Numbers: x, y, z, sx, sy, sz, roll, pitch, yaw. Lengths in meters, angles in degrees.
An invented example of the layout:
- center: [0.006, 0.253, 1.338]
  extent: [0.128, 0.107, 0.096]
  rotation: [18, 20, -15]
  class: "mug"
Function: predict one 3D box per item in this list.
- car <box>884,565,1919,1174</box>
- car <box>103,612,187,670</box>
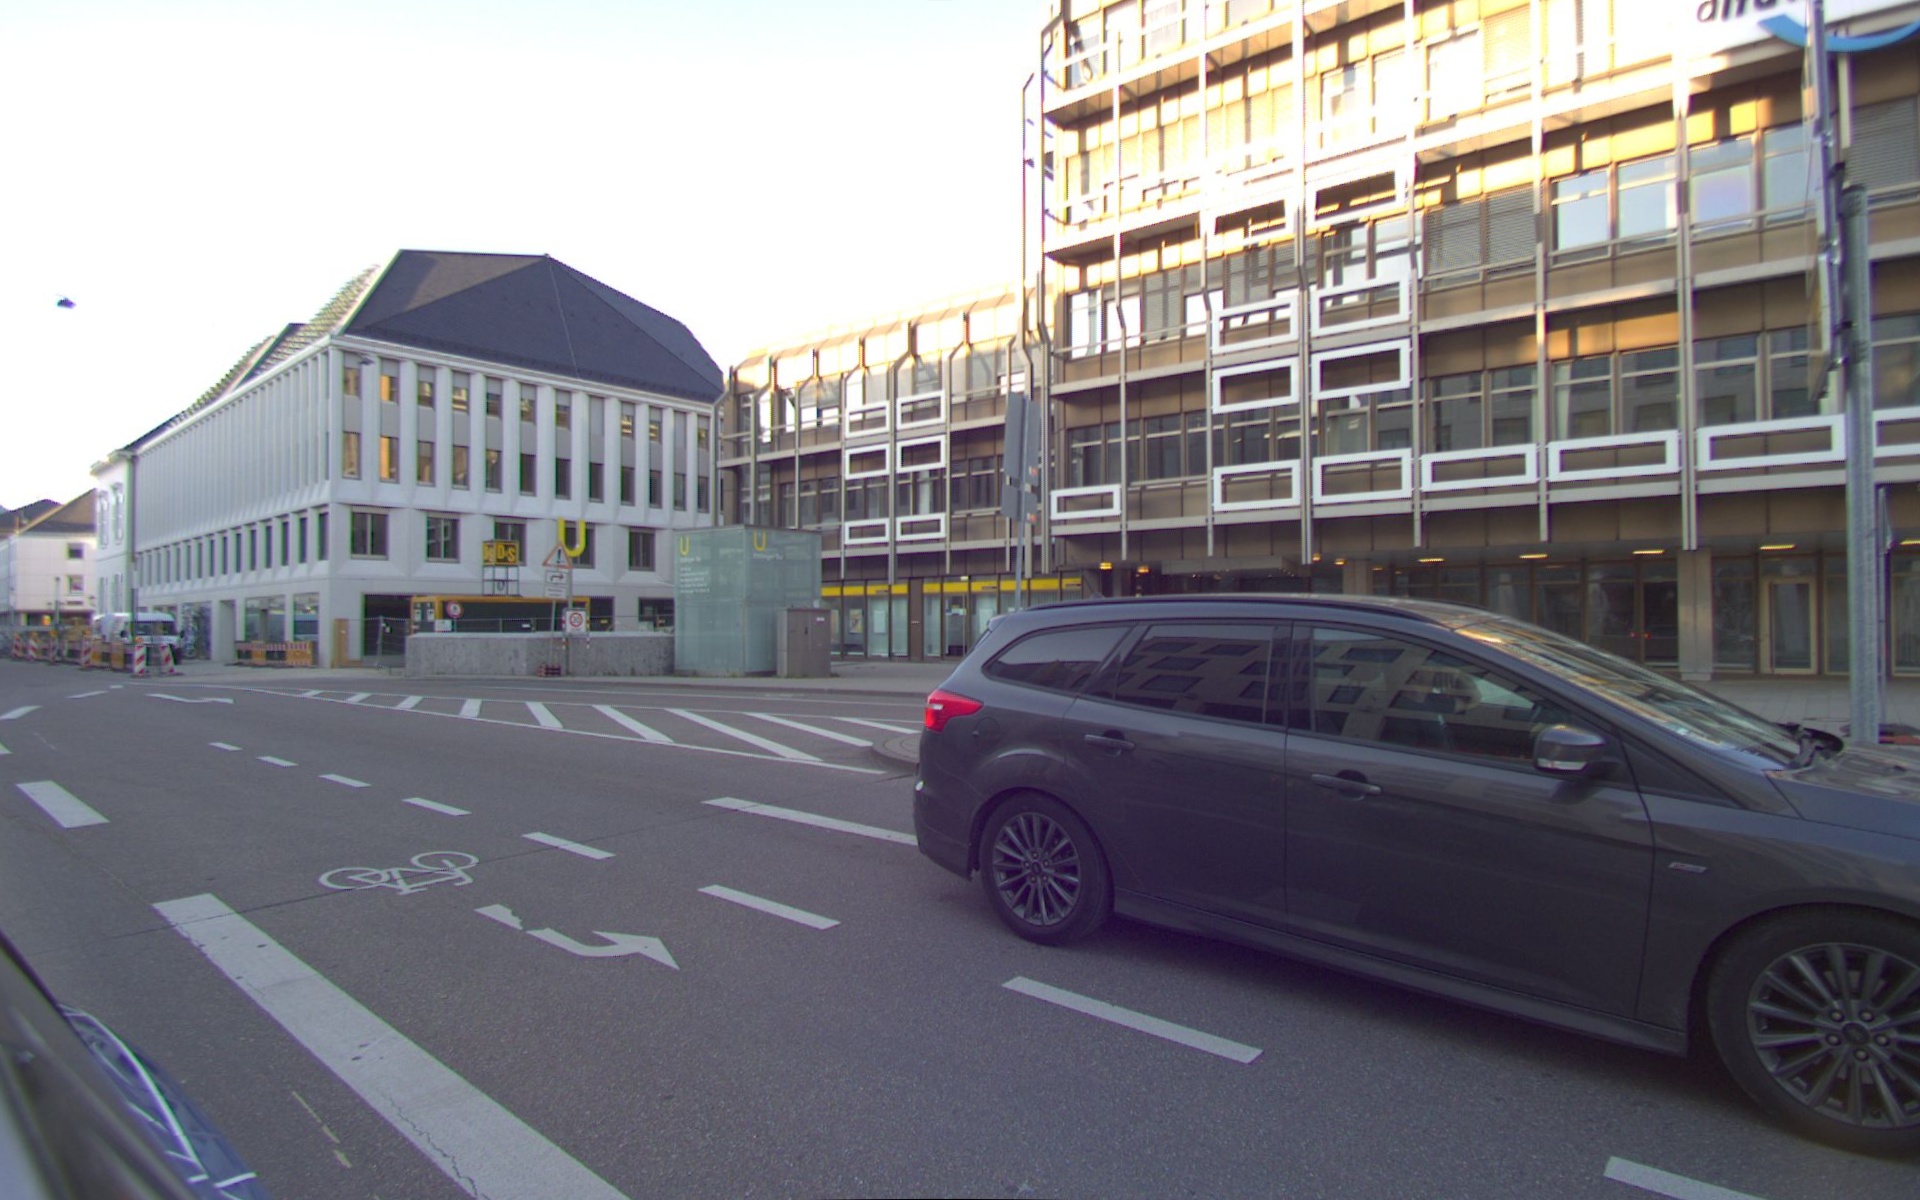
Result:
- center: [1.879, 0.677, 3.971]
  extent: [4.377, 1.473, 1.740]
  rotation: [-2, -1, 40]
  class: "car"
- center: [-38.841, 1.932, 48.167]
  extent: [6.047, 2.575, 2.114]
  rotation: [-2, -2, 41]
  class: "car"
